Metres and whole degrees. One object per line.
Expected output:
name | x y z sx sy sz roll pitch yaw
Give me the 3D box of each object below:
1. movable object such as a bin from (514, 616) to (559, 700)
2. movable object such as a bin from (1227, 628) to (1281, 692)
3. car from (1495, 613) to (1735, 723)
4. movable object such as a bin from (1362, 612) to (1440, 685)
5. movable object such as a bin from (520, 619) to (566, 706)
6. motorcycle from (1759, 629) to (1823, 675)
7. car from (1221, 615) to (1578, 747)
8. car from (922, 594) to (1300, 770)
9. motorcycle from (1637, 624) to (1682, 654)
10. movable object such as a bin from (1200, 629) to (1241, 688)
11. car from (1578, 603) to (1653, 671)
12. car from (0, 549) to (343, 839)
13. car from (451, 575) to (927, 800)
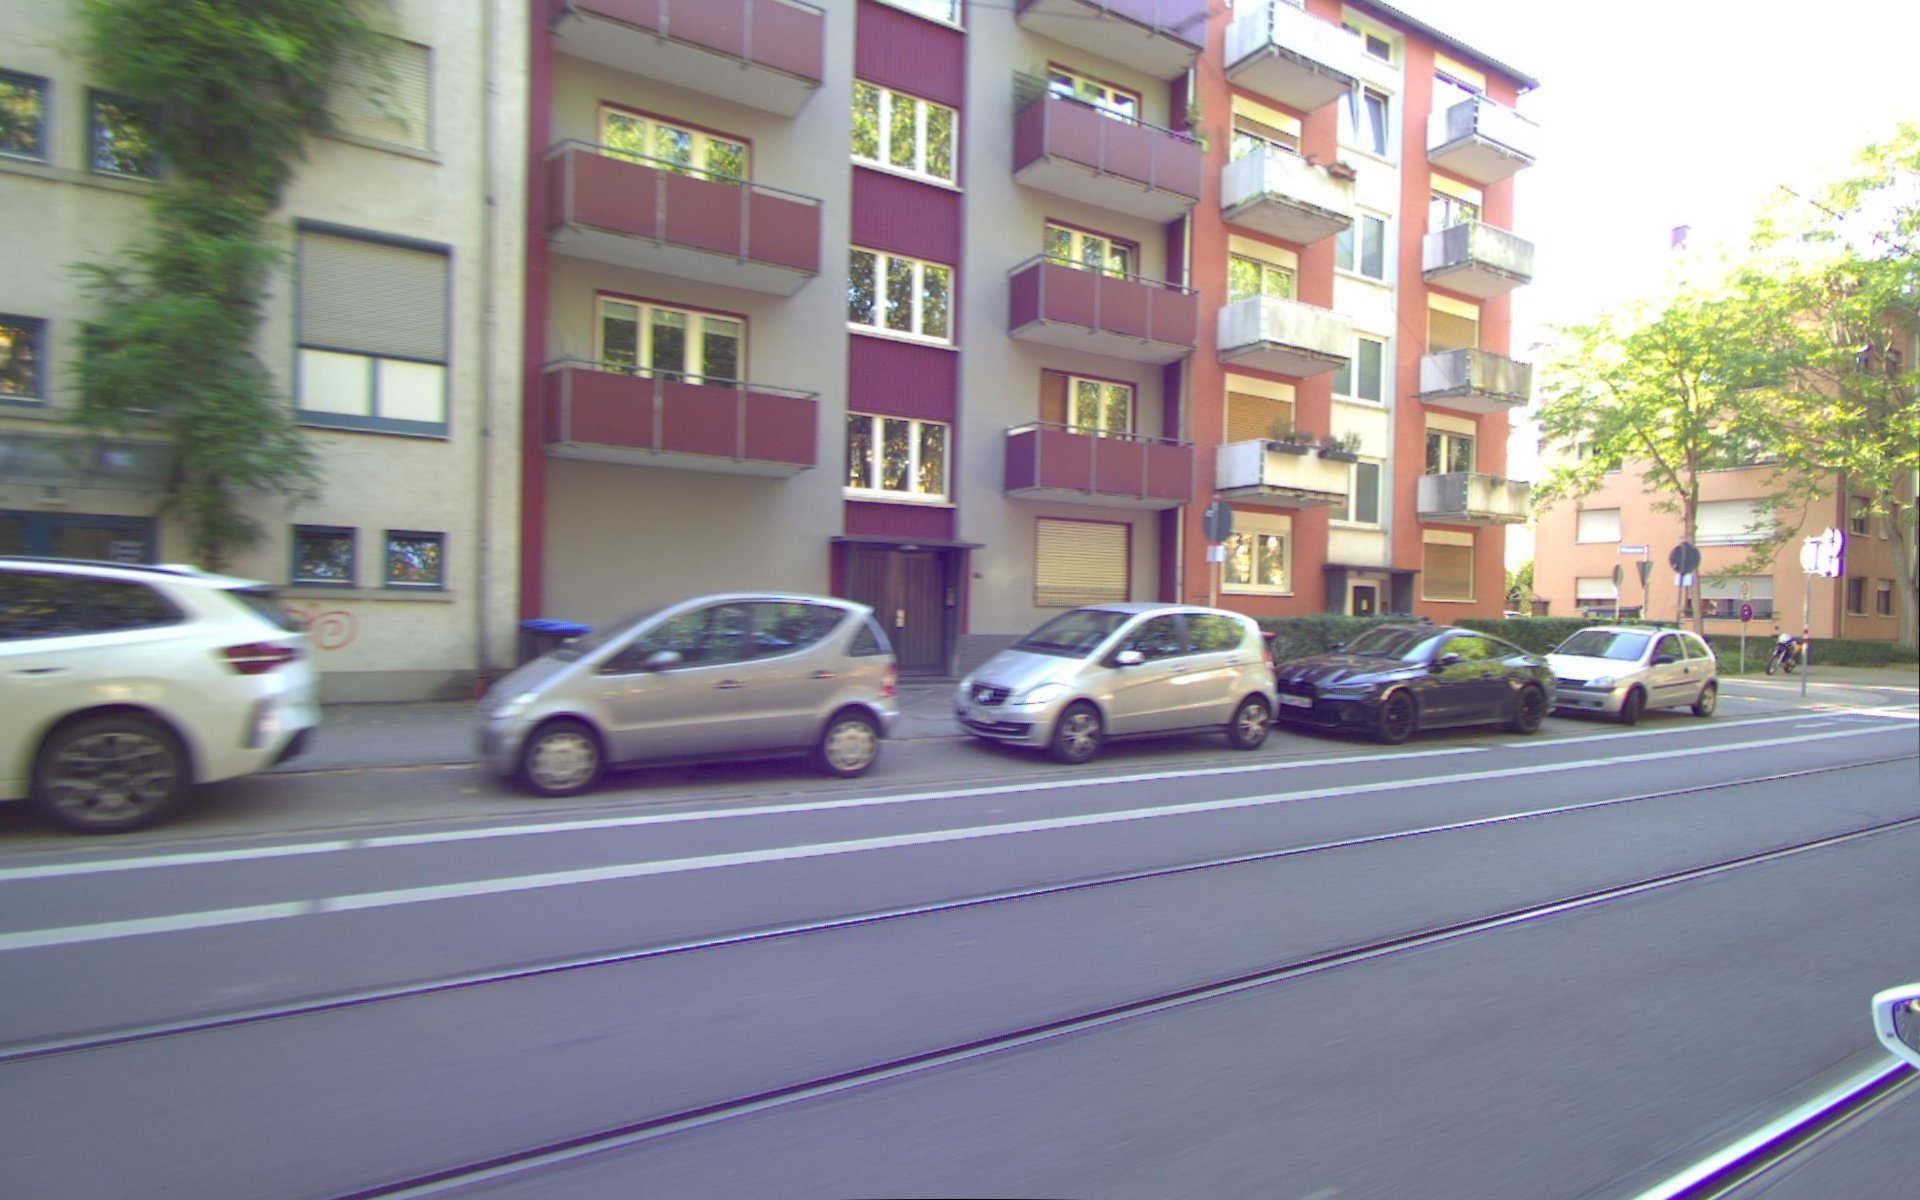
movable object such as a bin | -5.614 0.755 13.301 0.486 1.069 0.458 1 1 -30
movable object such as a bin | 5.117 1.036 17.492 0.712 1.062 0.562 1 0 -29
car | 10.656 1.036 16.291 3.886 1.503 1.716 1 2 -32
movable object such as a bin | 8.719 0.940 19.891 0.738 1.383 1.206 1 0 -29
movable object such as a bin | -5.363 0.792 12.912 0.486 1.069 0.458 1 1 -30
motorcycle | 25.700 1.586 31.055 2.323 1.298 0.897 -1 1 -33
car | 6.059 1.007 13.706 4.805 1.414 1.943 1 2 -30
car | 1.750 0.802 11.260 3.962 1.608 1.809 1 1 -33
motorcycle | 27.633 1.533 39.664 2.043 1.144 0.691 1 0 -31
movable object such as a bin | 4.645 1.041 17.906 0.436 1.019 0.541 1 0 -29
car | 23.006 1.263 35.408 1.965 2.151 4.713 2 0 31
car | -6.689 0.496 6.227 4.827 1.670 1.942 2 1 -32
car | -2.333 0.663 8.830 3.736 1.593 1.618 2 1 -30
